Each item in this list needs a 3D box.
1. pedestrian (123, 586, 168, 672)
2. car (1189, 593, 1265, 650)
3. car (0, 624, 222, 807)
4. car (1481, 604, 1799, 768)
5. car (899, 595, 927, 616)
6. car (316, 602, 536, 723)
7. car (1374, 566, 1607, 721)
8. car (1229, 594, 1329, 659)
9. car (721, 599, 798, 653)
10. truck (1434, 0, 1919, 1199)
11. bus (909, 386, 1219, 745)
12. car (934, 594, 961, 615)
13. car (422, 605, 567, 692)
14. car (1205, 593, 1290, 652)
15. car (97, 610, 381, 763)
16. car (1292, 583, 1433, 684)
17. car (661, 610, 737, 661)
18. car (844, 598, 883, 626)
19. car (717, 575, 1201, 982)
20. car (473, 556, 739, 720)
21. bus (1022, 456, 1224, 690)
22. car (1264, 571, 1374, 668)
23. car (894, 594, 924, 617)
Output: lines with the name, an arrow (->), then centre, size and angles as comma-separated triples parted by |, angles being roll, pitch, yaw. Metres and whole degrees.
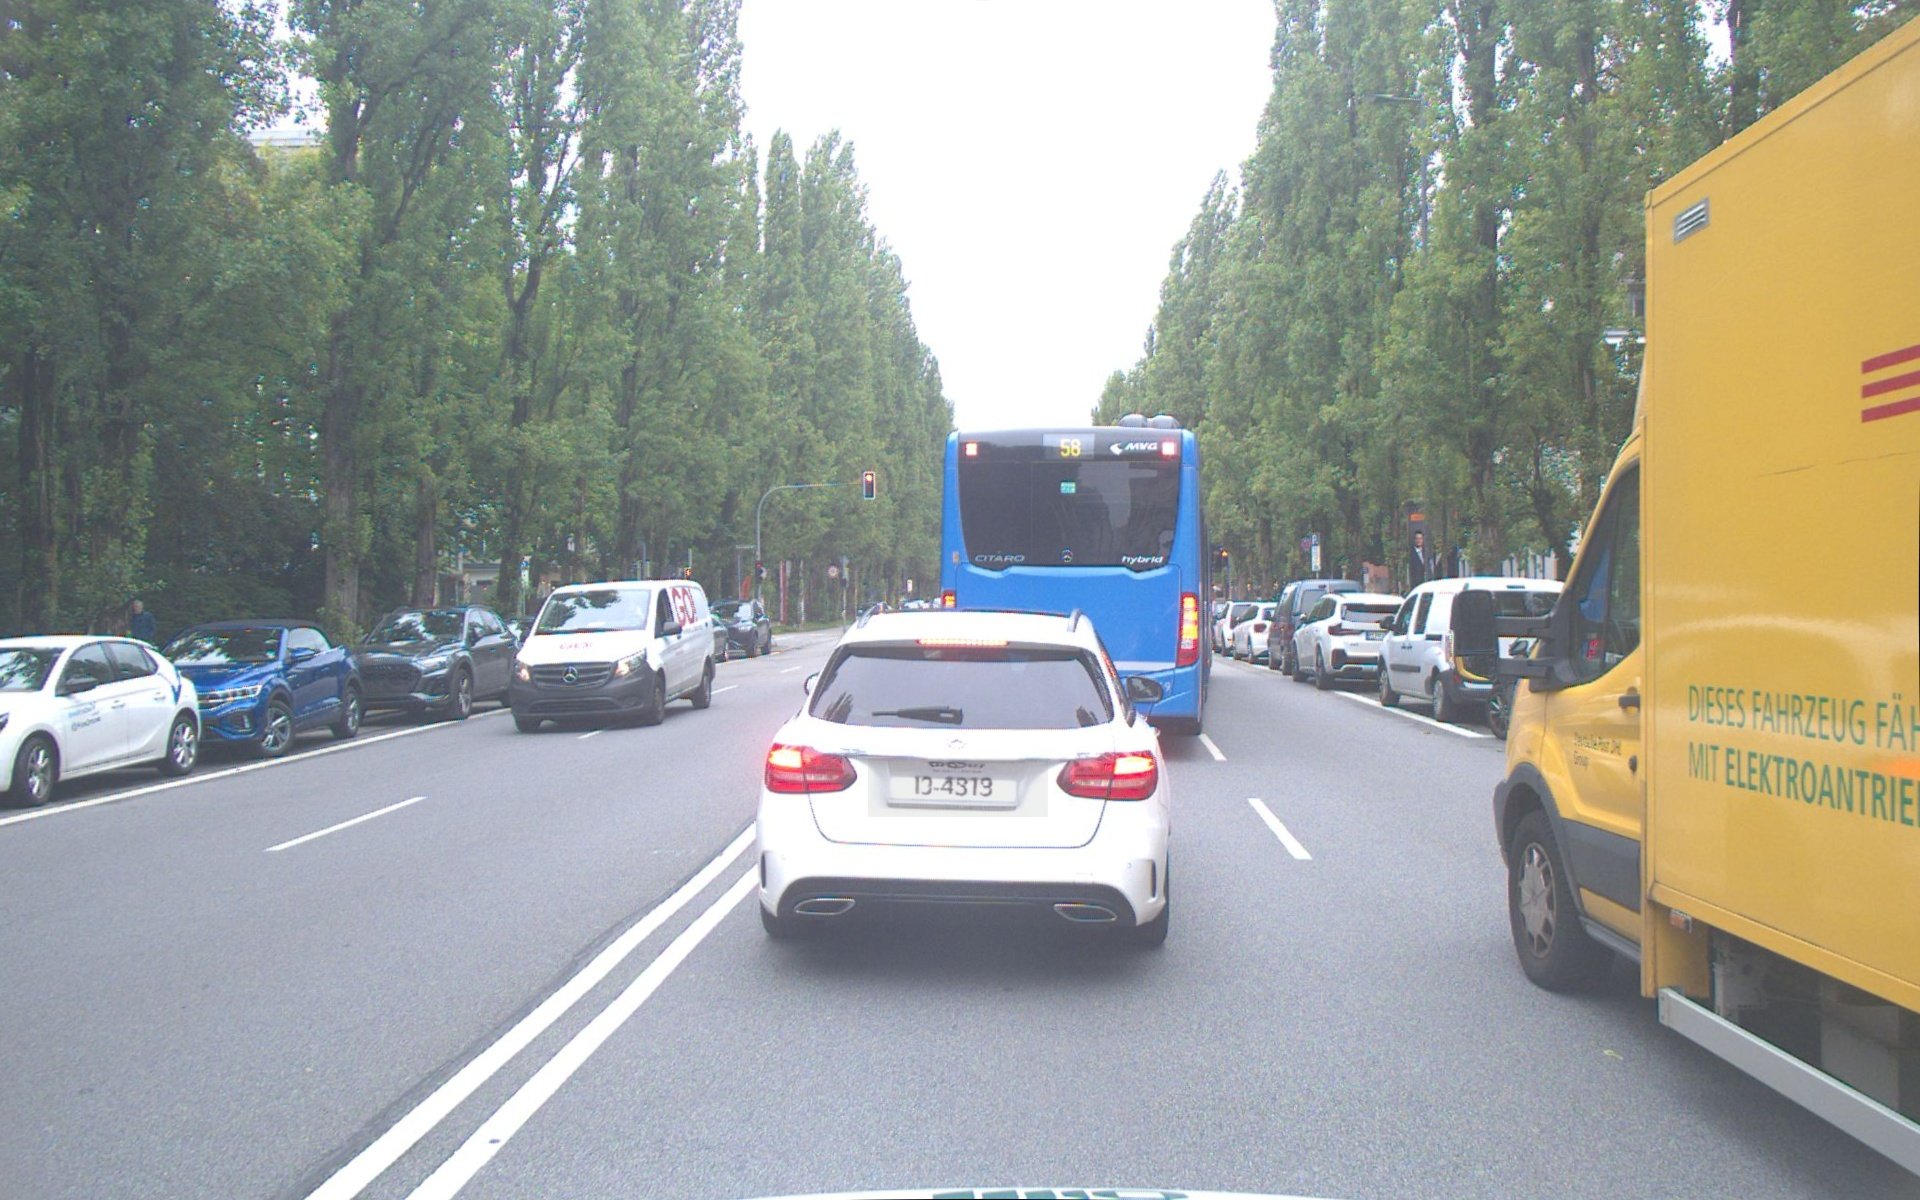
pedestrian -> -17.105, 0.604, 34.727 | 0.587, 1.769, 0.640 | -1, 0, 3
car -> 8.183, 0.626, 50.925 | 1.771, 1.646, 4.001 | -1, 0, 1
car -> -8.669, 1.012, 15.396 | 1.650, 1.437, 4.005 | -3, 0, 2
car -> 6.504, 0.749, 16.295 | 1.710, 1.378, 4.002 | 0, 0, 4
car -> -3.442, 0.403, 121.489 | 1.783, 1.512, 4.001 | -1, 0, 2
car -> -8.009, 0.875, 25.265 | 1.754, 1.575, 4.339 | -4, 0, 2
car -> 6.856, 0.514, 21.845 | 1.795, 1.804, 4.231 | 1, 0, 2
car -> 7.772, 0.609, 40.623 | 1.761, 1.501, 4.001 | -1, 0, 1
car -> -6.210, 0.790, 51.531 | 1.671, 1.579, 4.002 | -1, 0, 3
truck -> 3.287, -0.019, 4.122 | 2.279, 2.949, 7.334 | -1, 0, 2
bus -> 1.641, -0.338, 19.758 | 2.795, 3.270, 9.067 | 0, 0, 9
car -> -0.923, 0.338, 122.187 | 1.783, 1.512, 4.001 | -1, 0, 2
car -> -8.833, 0.877, 31.688 | 1.508, 1.458, 3.870 | -4, 0, 2
car -> 7.909, 0.581, 45.767 | 1.748, 1.518, 4.001 | -1, 0, 2
car -> -8.494, 0.945, 19.898 | 1.708, 1.545, 4.116 | -2, 0, -3
car -> 6.973, 0.533, 29.044 | 1.642, 1.624, 4.088 | 1, 0, 3
car -> -7.194, 0.949, 45.899 | 1.262, 1.296, 3.850 | -1, 0, 3
car -> -5.368, 0.644, 92.674 | 1.783, 1.512, 4.001 | -1, 0, 2
car -> 0.178, 0.647, 8.391 | 1.787, 1.480, 4.585 | 0, 0, 5
car -> -4.753, 0.460, 23.247 | 2.137, 1.924, 5.698 | -3, 0, 3
bus -> 3.138, -0.404, 28.927 | 2.810, 3.362, 9.798 | -1, 0, 10
car -> 7.374, 0.367, 34.307 | 1.667, 1.868, 4.002 | 1, 0, 4
car -> -3.443, 0.358, 111.955 | 1.783, 1.512, 4.001 | -1, 0, 2
